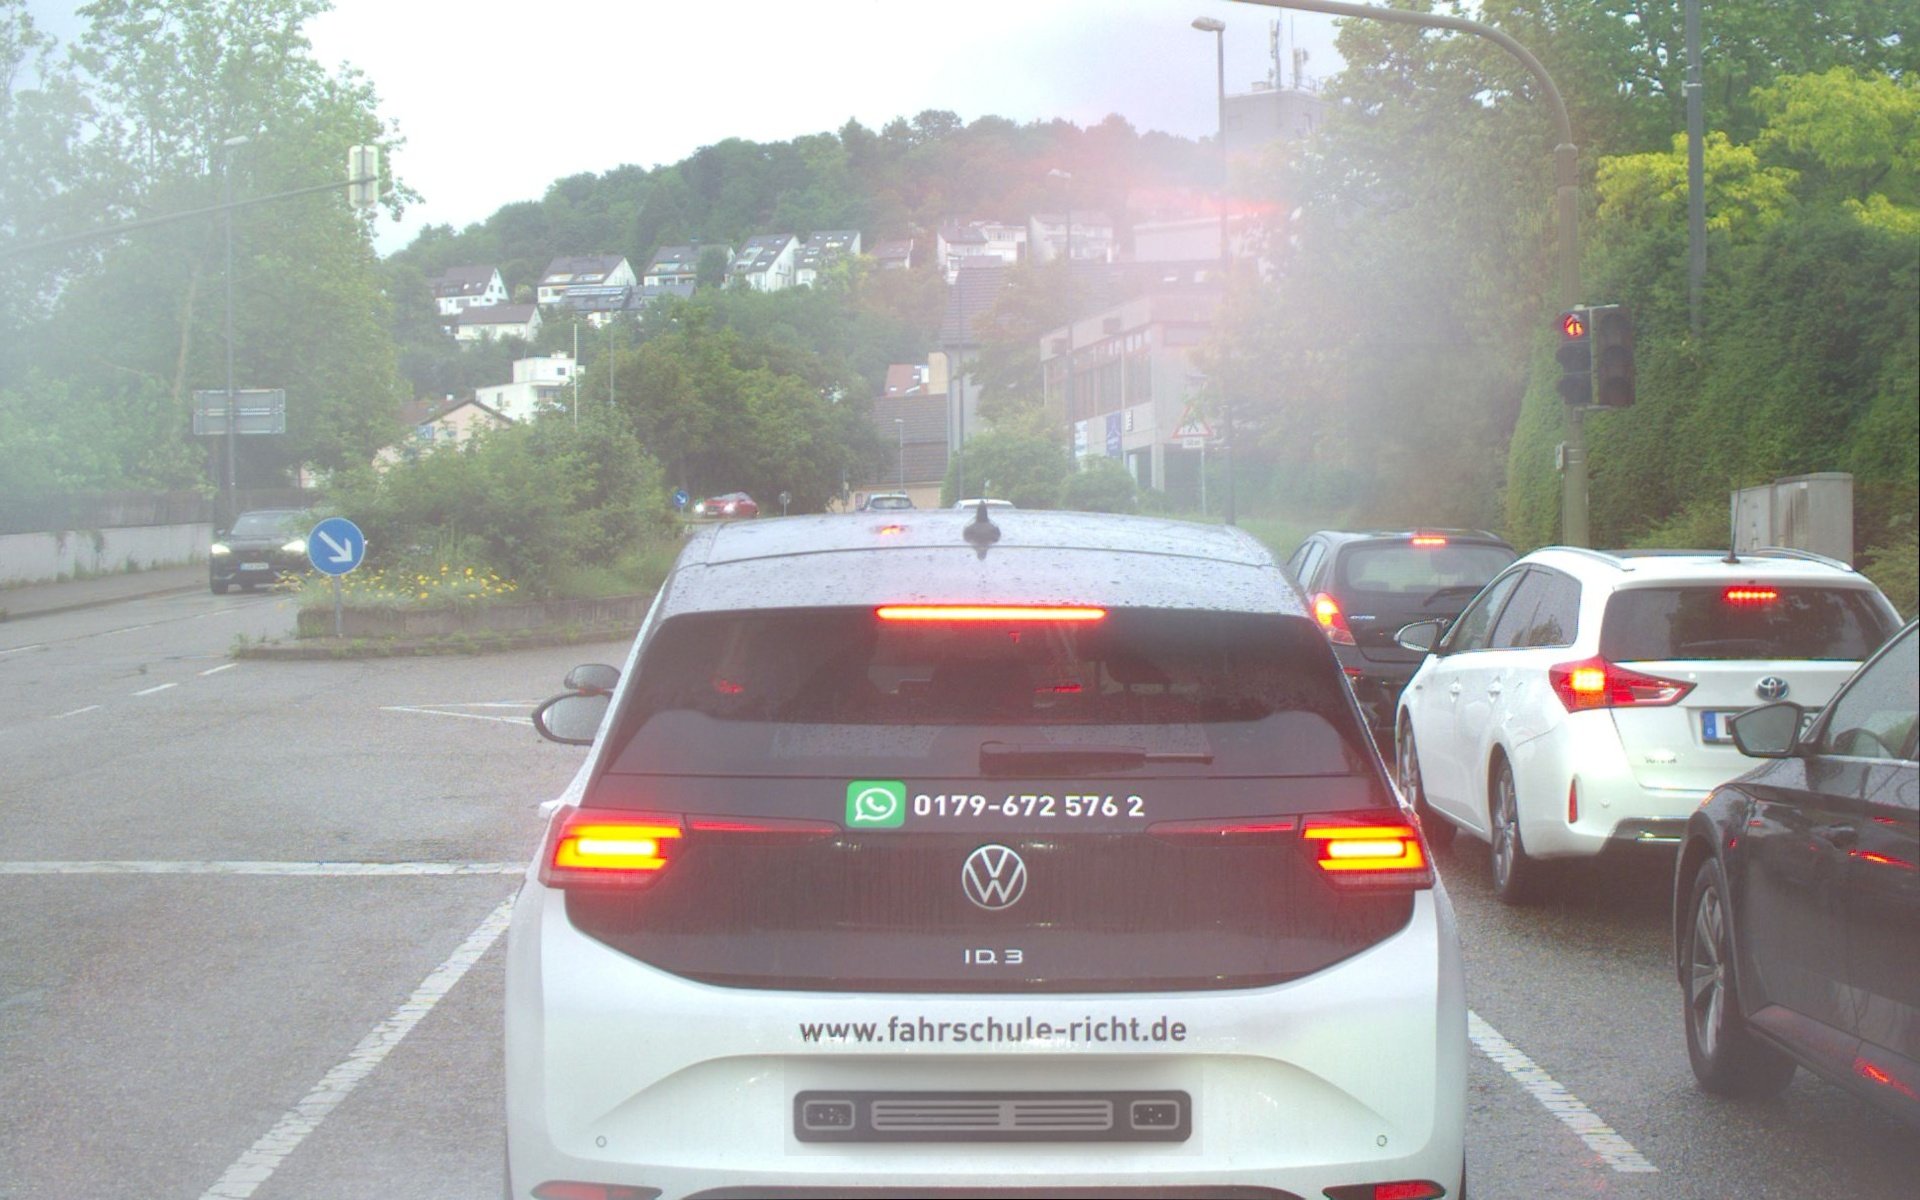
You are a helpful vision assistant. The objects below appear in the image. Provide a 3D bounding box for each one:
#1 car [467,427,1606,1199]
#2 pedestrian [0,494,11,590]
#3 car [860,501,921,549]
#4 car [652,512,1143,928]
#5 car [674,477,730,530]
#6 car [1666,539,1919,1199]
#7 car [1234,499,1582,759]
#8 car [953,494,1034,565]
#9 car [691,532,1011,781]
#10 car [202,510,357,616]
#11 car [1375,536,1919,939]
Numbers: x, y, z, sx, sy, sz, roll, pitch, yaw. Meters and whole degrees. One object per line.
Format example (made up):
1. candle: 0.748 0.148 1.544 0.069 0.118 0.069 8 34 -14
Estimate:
1. car: 0.074 0.493 7.940 1.837 1.623 4.616 1 1 -1
2. pedestrian: -15.973 -0.924 55.942 0.760 1.562 0.825 -2 1 -1
3. car: -2.169 -2.345 106.825 1.761 1.413 3.749 -1 2 -3
4. car: -0.283 0.407 15.184 1.837 1.549 4.175 1 1 -1
5. car: -10.519 -3.923 140.366 1.993 2.007 4.000 1 0 0
6. car: 2.878 0.632 7.425 1.838 1.461 4.350 1 1 1
7. car: 2.937 0.155 23.317 1.775 1.576 4.000 1 1 0
8. car: 0.704 -1.511 74.774 1.581 1.462 4.000 -1 1 -1
9. car: -0.678 0.294 22.006 1.837 1.395 3.831 1 1 -1
10. car: -12.419 -0.692 62.958 1.993 1.798 4.000 -3 1 0
11. car: 3.032 0.484 14.970 1.837 1.461 4.117 1 1 -1
